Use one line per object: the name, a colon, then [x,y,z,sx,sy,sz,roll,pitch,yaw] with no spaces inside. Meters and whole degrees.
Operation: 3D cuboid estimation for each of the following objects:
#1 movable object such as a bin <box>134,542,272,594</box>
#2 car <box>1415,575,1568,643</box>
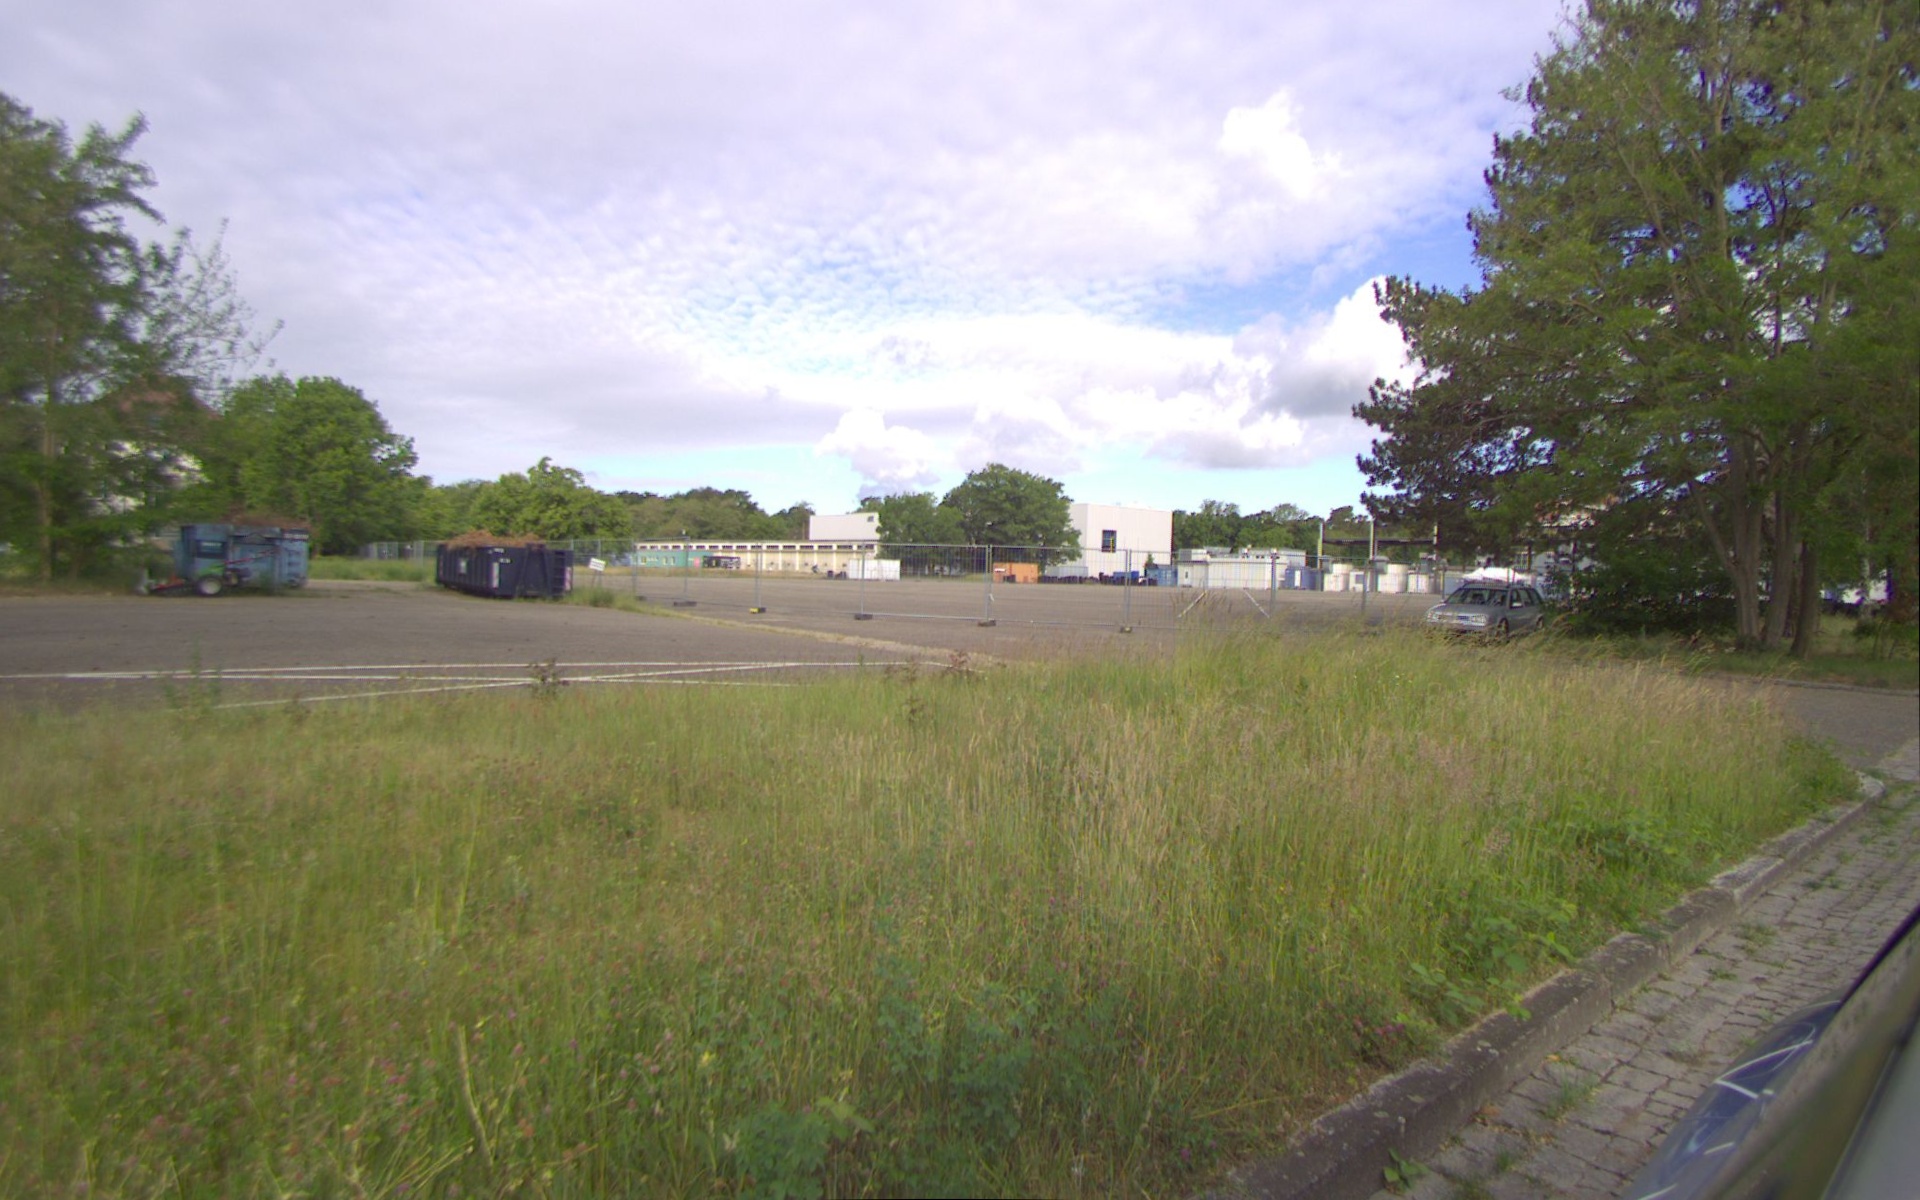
movable object such as a bin: [-17.691,-0.730,23.690,2.499,1.097,1.064,2,1,-42]
car: [13.070,0.187,24.788,4.249,1.466,1.759,0,2,-39]
